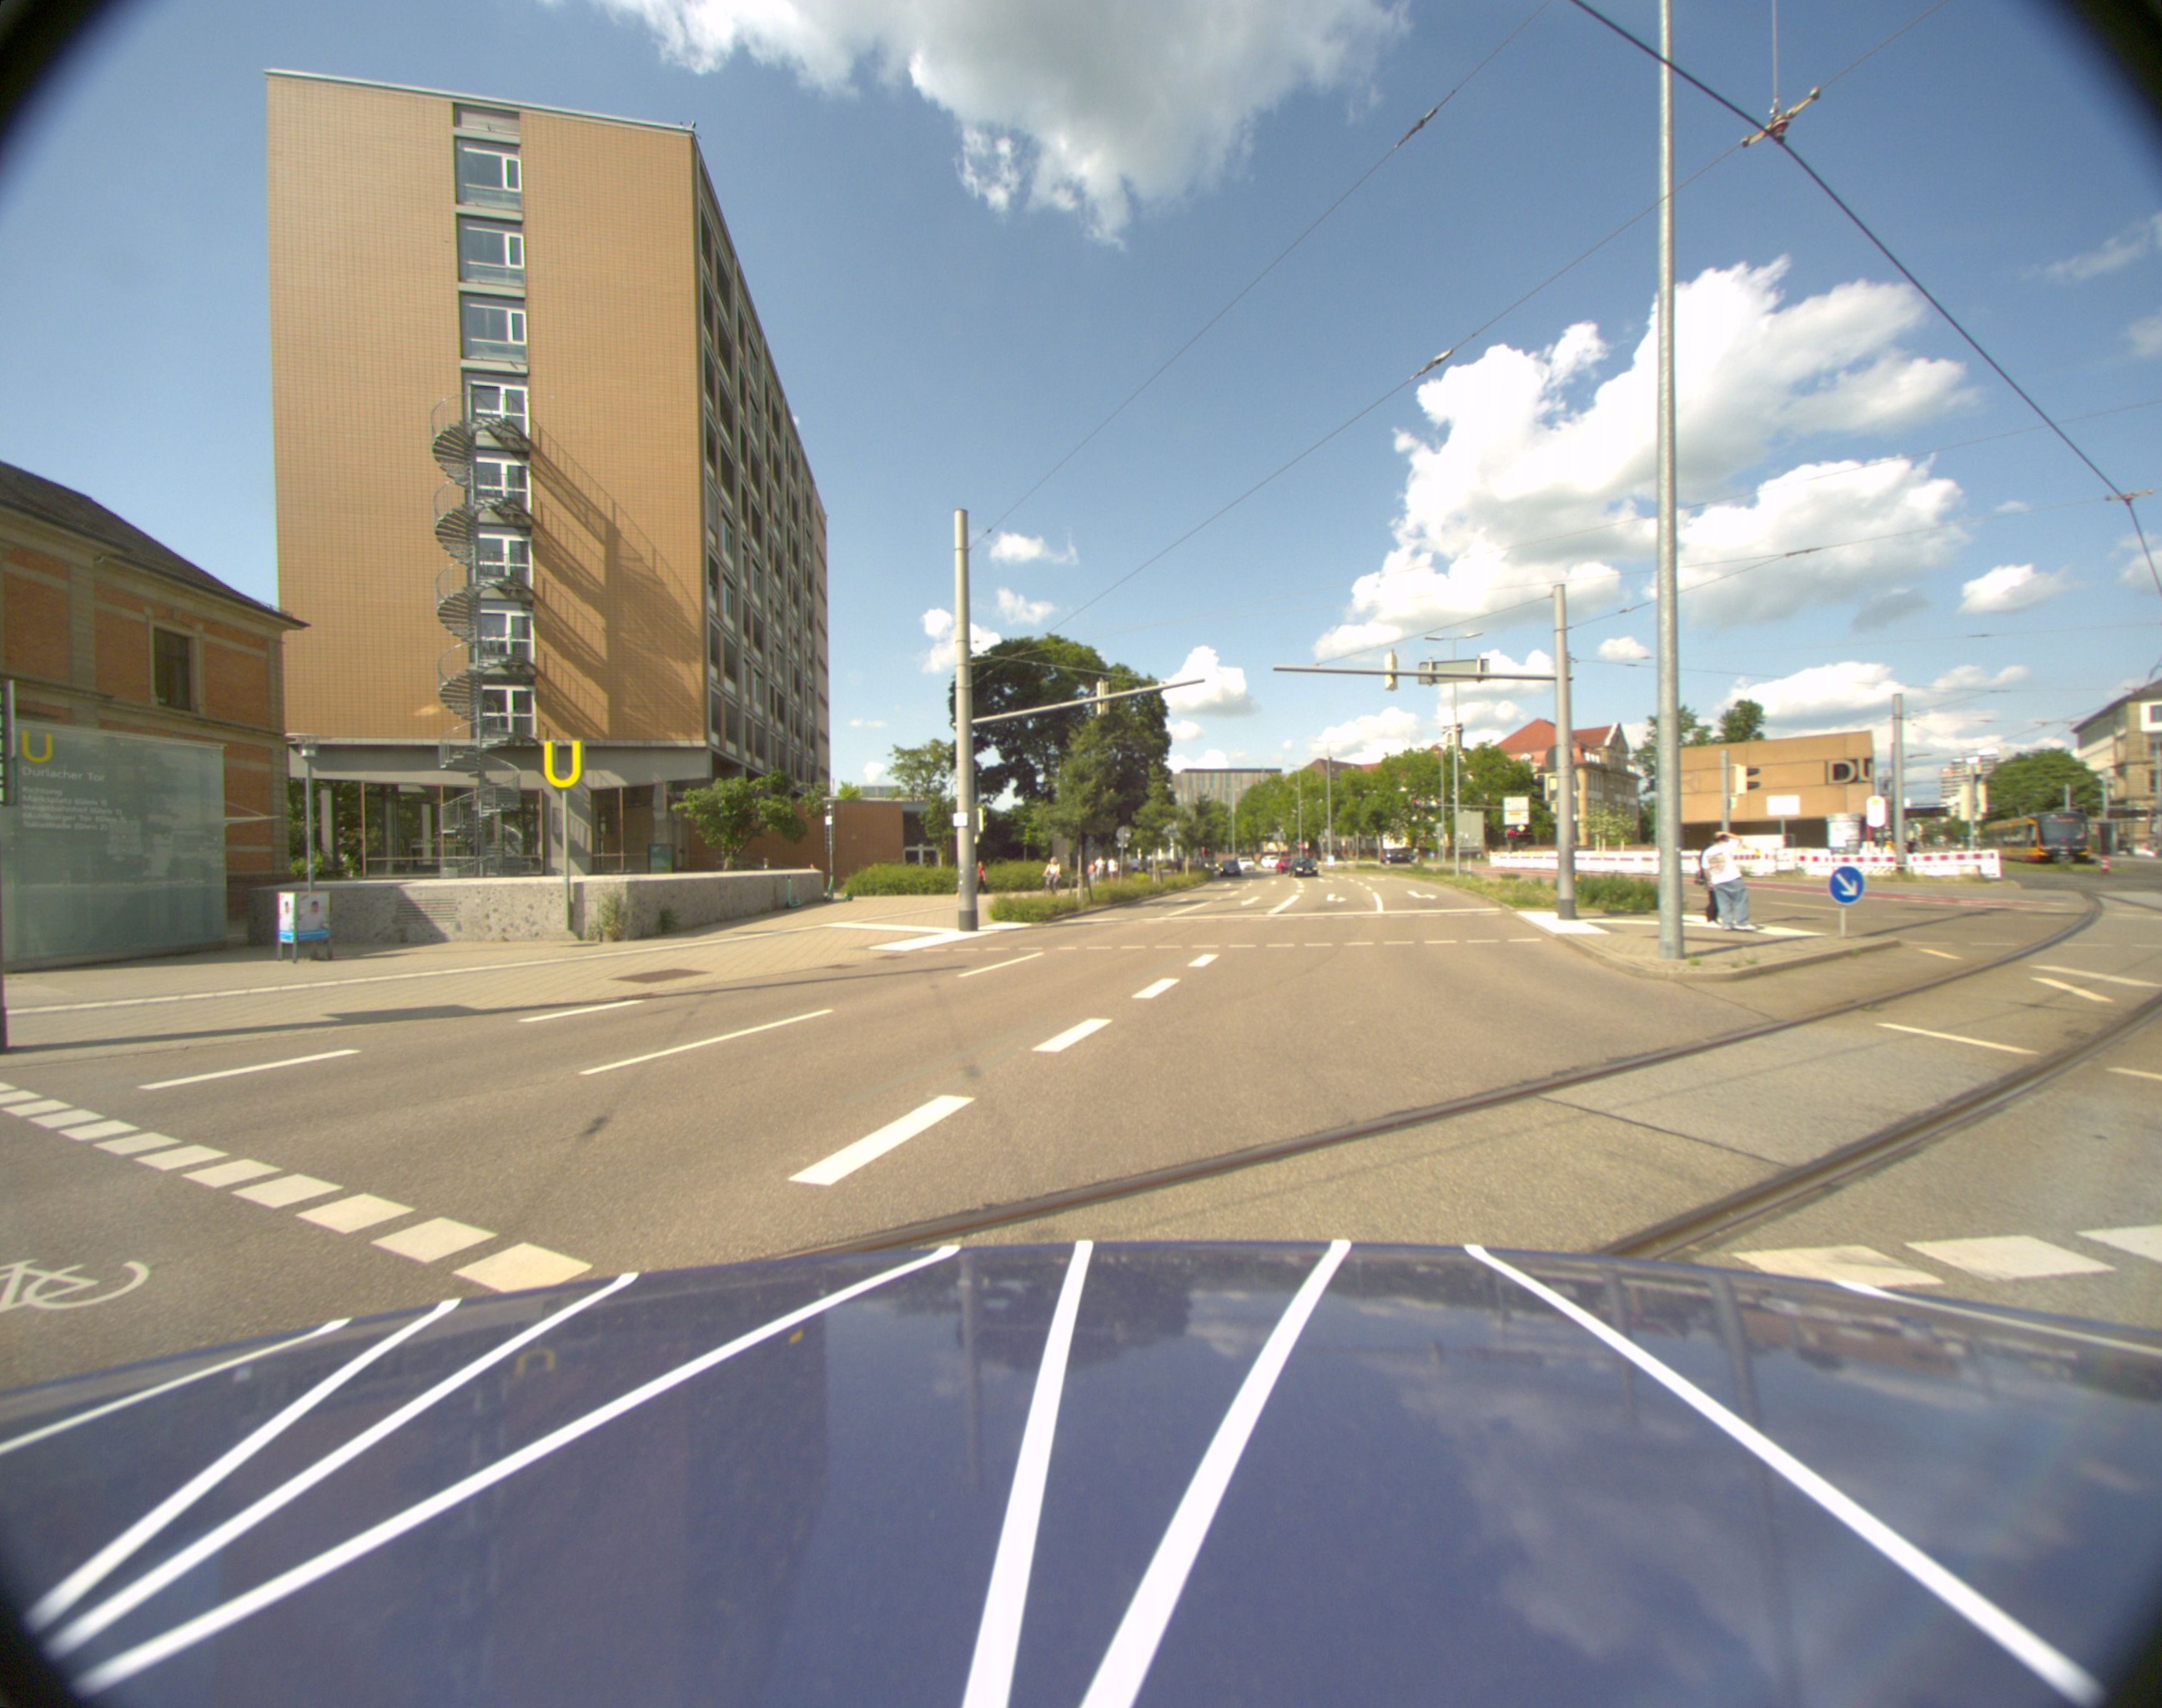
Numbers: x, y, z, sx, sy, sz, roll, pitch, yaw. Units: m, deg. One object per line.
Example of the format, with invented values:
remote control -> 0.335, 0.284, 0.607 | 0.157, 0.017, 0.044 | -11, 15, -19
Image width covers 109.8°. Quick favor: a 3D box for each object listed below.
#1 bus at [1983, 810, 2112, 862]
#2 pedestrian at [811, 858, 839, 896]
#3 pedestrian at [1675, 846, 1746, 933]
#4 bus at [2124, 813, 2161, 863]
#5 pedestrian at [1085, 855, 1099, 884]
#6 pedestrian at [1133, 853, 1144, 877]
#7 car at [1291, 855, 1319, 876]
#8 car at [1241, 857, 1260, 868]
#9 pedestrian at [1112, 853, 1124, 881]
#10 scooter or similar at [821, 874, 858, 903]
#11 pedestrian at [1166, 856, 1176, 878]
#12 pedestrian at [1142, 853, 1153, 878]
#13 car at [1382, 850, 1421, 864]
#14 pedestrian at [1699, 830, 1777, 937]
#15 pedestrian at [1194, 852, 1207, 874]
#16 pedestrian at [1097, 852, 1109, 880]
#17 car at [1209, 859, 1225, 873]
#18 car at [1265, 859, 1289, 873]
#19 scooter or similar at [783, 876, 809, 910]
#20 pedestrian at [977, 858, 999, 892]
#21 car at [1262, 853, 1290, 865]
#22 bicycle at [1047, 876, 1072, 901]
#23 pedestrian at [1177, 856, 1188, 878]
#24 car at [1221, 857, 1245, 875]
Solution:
bus -> 71.772, -1.260, 57.078 | 23.827, 3.165, 3.467 | -1, 0, -44
pedestrian -> -11.294, 1.002, 33.491 | 1.098, 1.613, 0.614 | 1, 2, -22
pedestrian -> 12.121, 0.668, 14.653 | 0.848, 1.638, 0.693 | -1, 1, 15
bus -> 85.016, -1.222, 58.596 | 18.910, 3.610, 3.599 | 0, 0, -41
pedestrian -> 0.621, 0.885, 43.655 | 0.615, 1.613, 0.890 | 1, 2, 11
pedestrian -> 4.265, 0.812, 56.421 | 0.743, 1.736, 0.890 | 1, 2, 10
car -> 16.763, 0.825, 56.637 | 1.823, 1.454, 4.005 | -2, 0, 18
car -> 19.153, 0.998, 86.024 | 1.907, 1.127, 4.105 | -2, 0, 10
pedestrian -> 2.307, 0.793, 46.977 | 0.615, 1.690, 0.890 | 1, 2, 10
scooter or similar -> -9.548, 1.341, 30.011 | 1.321, 1.097, 0.465 | 0, 0, -30
pedestrian -> 7.186, 1.053, 60.613 | 0.767, 1.724, 0.719 | -3, 0, 7
pedestrian -> 4.928, 0.842, 56.115 | 0.743, 1.744, 0.890 | 1, 2, 10
car -> 34.466, 0.344, 81.719 | 3.781, 1.327, 1.736 | -3, 0, 21
pedestrian -> 12.001, 0.522, 13.905 | 0.848, 1.906, 0.693 | -1, 1, 15
pedestrian -> 10.830, 0.816, 68.756 | 0.964, 2.002, 0.769 | -3, 0, 13
pedestrian -> 1.361, 0.728, 47.070 | 0.615, 1.690, 0.890 | 1, 2, 10
car -> 16.214, 1.414, 90.538 | 1.824, 1.454, 4.003 | -2, 0, 10
car -> 17.832, 1.036, 69.209 | 1.596, 1.127, 3.631 | -3, 0, 7
scooter or similar -> -10.041, 1.360, 26.771 | 0.466, 1.111, 1.446 | 0, 0, -4
pedestrian -> -4.519, 1.001, 36.830 | 0.891, 1.613, 0.614 | 0, 2, -27
car -> 23.973, 0.621, 93.594 | 1.780, 1.346, 3.996 | -3, 0, -12
bicycle -> -0.866, 1.406, 31.316 | 0.648, 0.875, 1.823 | -4, 0, 10
pedestrian -> 8.161, 1.068, 61.123 | 0.767, 1.724, 0.719 | -3, 0, 7
car -> 13.221, 1.009, 65.812 | 1.823, 1.454, 4.004 | -2, 0, 13
